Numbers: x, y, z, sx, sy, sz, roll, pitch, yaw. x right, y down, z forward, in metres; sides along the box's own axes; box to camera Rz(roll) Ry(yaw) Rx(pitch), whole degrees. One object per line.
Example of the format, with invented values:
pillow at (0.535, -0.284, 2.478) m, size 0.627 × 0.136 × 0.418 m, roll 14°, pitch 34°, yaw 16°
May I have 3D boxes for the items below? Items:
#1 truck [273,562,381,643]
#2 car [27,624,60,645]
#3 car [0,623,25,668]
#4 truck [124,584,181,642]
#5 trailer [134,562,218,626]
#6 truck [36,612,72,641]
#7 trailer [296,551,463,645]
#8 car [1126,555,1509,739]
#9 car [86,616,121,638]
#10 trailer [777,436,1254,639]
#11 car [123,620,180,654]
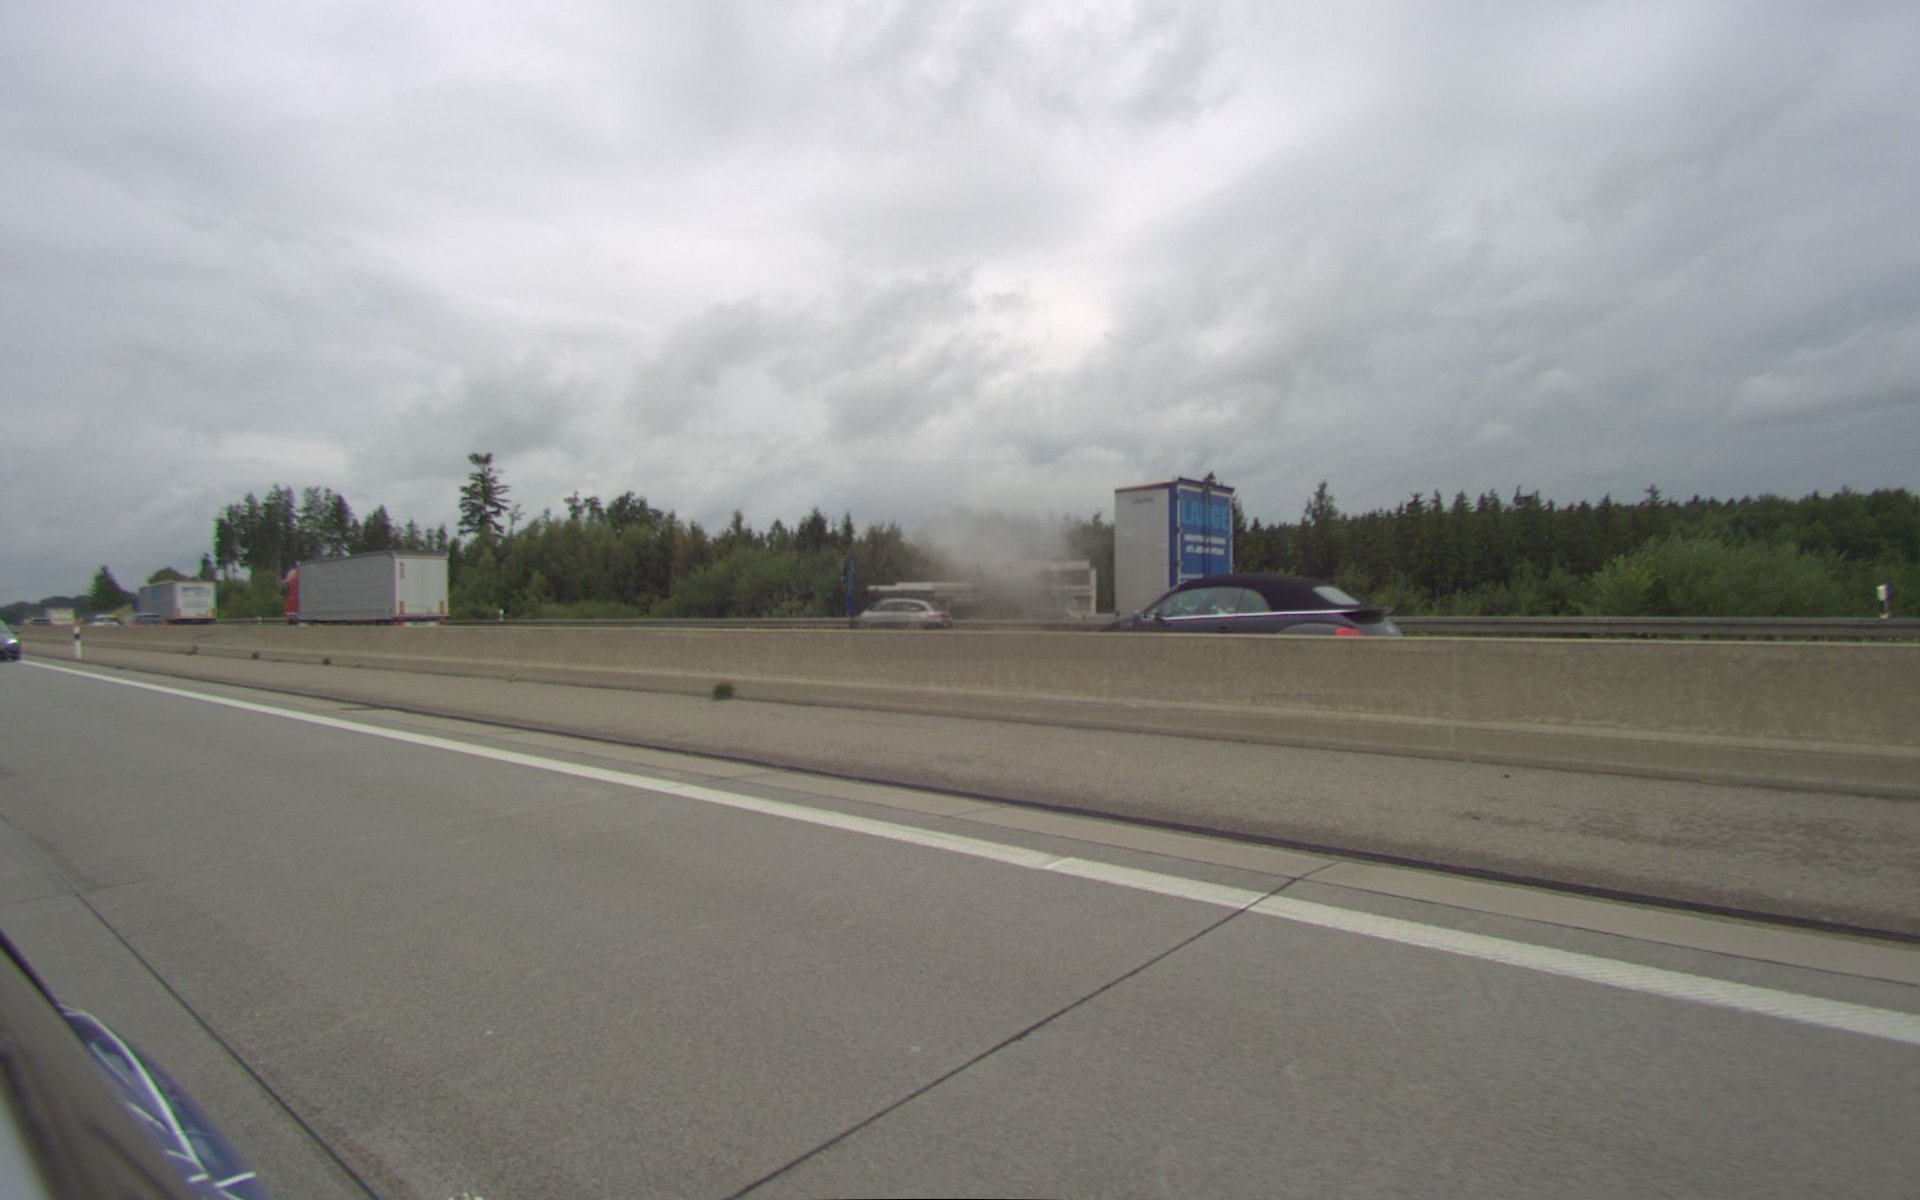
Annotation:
truck at (-35.267, 0.185, 56.273) m, size 6.491 × 4.214 × 3.433 m, roll -2°, pitch -1°, yaw 42°
car at (-75.869, 2.846, 83.753) m, size 4.719 × 1.627 × 1.680 m, roll -2°, pitch -1°, yaw 43°
car at (-33.871, 1.586, 34.984) m, size 4.568 × 1.491 × 1.767 m, roll -2°, pitch -1°, yaw 41°
truck at (-68.278, 1.096, 85.544) m, size 5.230 × 4.712 × 2.897 m, roll -2°, pitch -1°, yaw 41°
trailer at (-62.269, -0.359, 80.165) m, size 13.633 × 4.660 × 2.885 m, roll -2°, pitch -1°, yaw 42°
truck at (-127.003, 3.727, 141.850) m, size 8.899 × 3.893 × 2.868 m, roll -2°, pitch -1°, yaw 43°
trailer at (-29.535, 0.042, 51.069) m, size 12.925 × 4.233 × 3.446 m, roll -2°, pitch -1°, yaw 42°
car at (3.904, 0.465, 11.276) m, size 3.533 × 1.696 × 1.973 m, roll -2°, pitch -1°, yaw 41°
car at (-68.771, 2.150, 81.263) m, size 4.294 × 1.663 × 1.597 m, roll -2°, pitch -1°, yaw 42°
trailer at (0.621, -1.066, 24.481) m, size 12.394 × 3.866 × 2.820 m, roll -2°, pitch -1°, yaw 42°
car at (-43.481, 1.981, 54.389) m, size 4.179 × 1.691 × 1.695 m, roll -2°, pitch -1°, yaw 42°
